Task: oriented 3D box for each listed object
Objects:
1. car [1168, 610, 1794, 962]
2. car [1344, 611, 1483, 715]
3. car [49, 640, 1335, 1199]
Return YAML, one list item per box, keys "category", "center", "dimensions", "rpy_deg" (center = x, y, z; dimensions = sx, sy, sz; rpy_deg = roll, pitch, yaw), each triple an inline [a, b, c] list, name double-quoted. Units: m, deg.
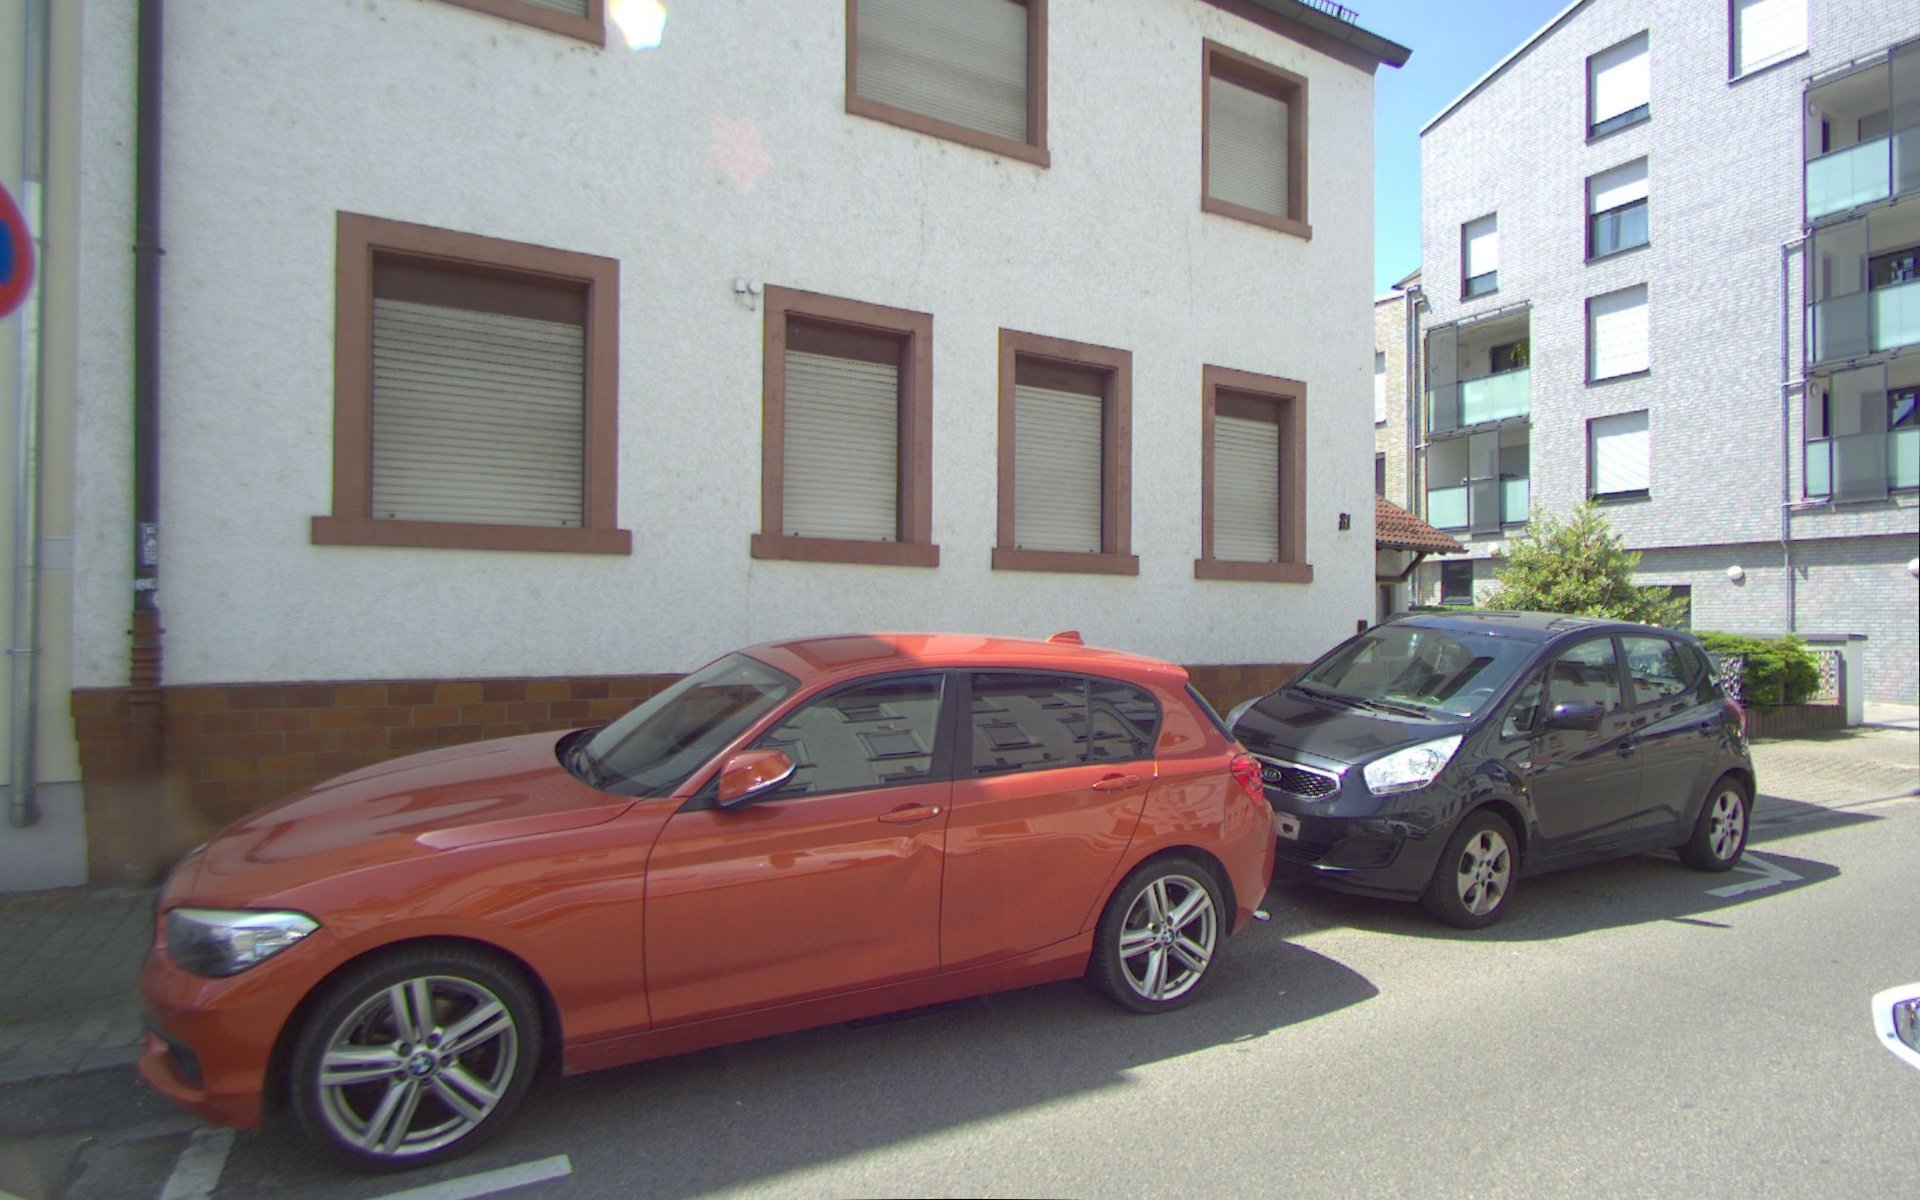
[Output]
- category: "car"
  center: [3.449, 0.932, 6.538]
  dimensions: [3.897, 1.668, 1.787]
  rpy_deg: [1, -1, -29]
- category: "car"
  center: [7.725, 0.991, 17.409]
  dimensions: [1.605, 1.560, 3.565]
  rpy_deg: [1, 0, 15]
- category: "car"
  center: [-0.661, 0.901, 4.161]
  dimensions: [4.235, 1.435, 1.827]
  rpy_deg: [1, -2, -28]
